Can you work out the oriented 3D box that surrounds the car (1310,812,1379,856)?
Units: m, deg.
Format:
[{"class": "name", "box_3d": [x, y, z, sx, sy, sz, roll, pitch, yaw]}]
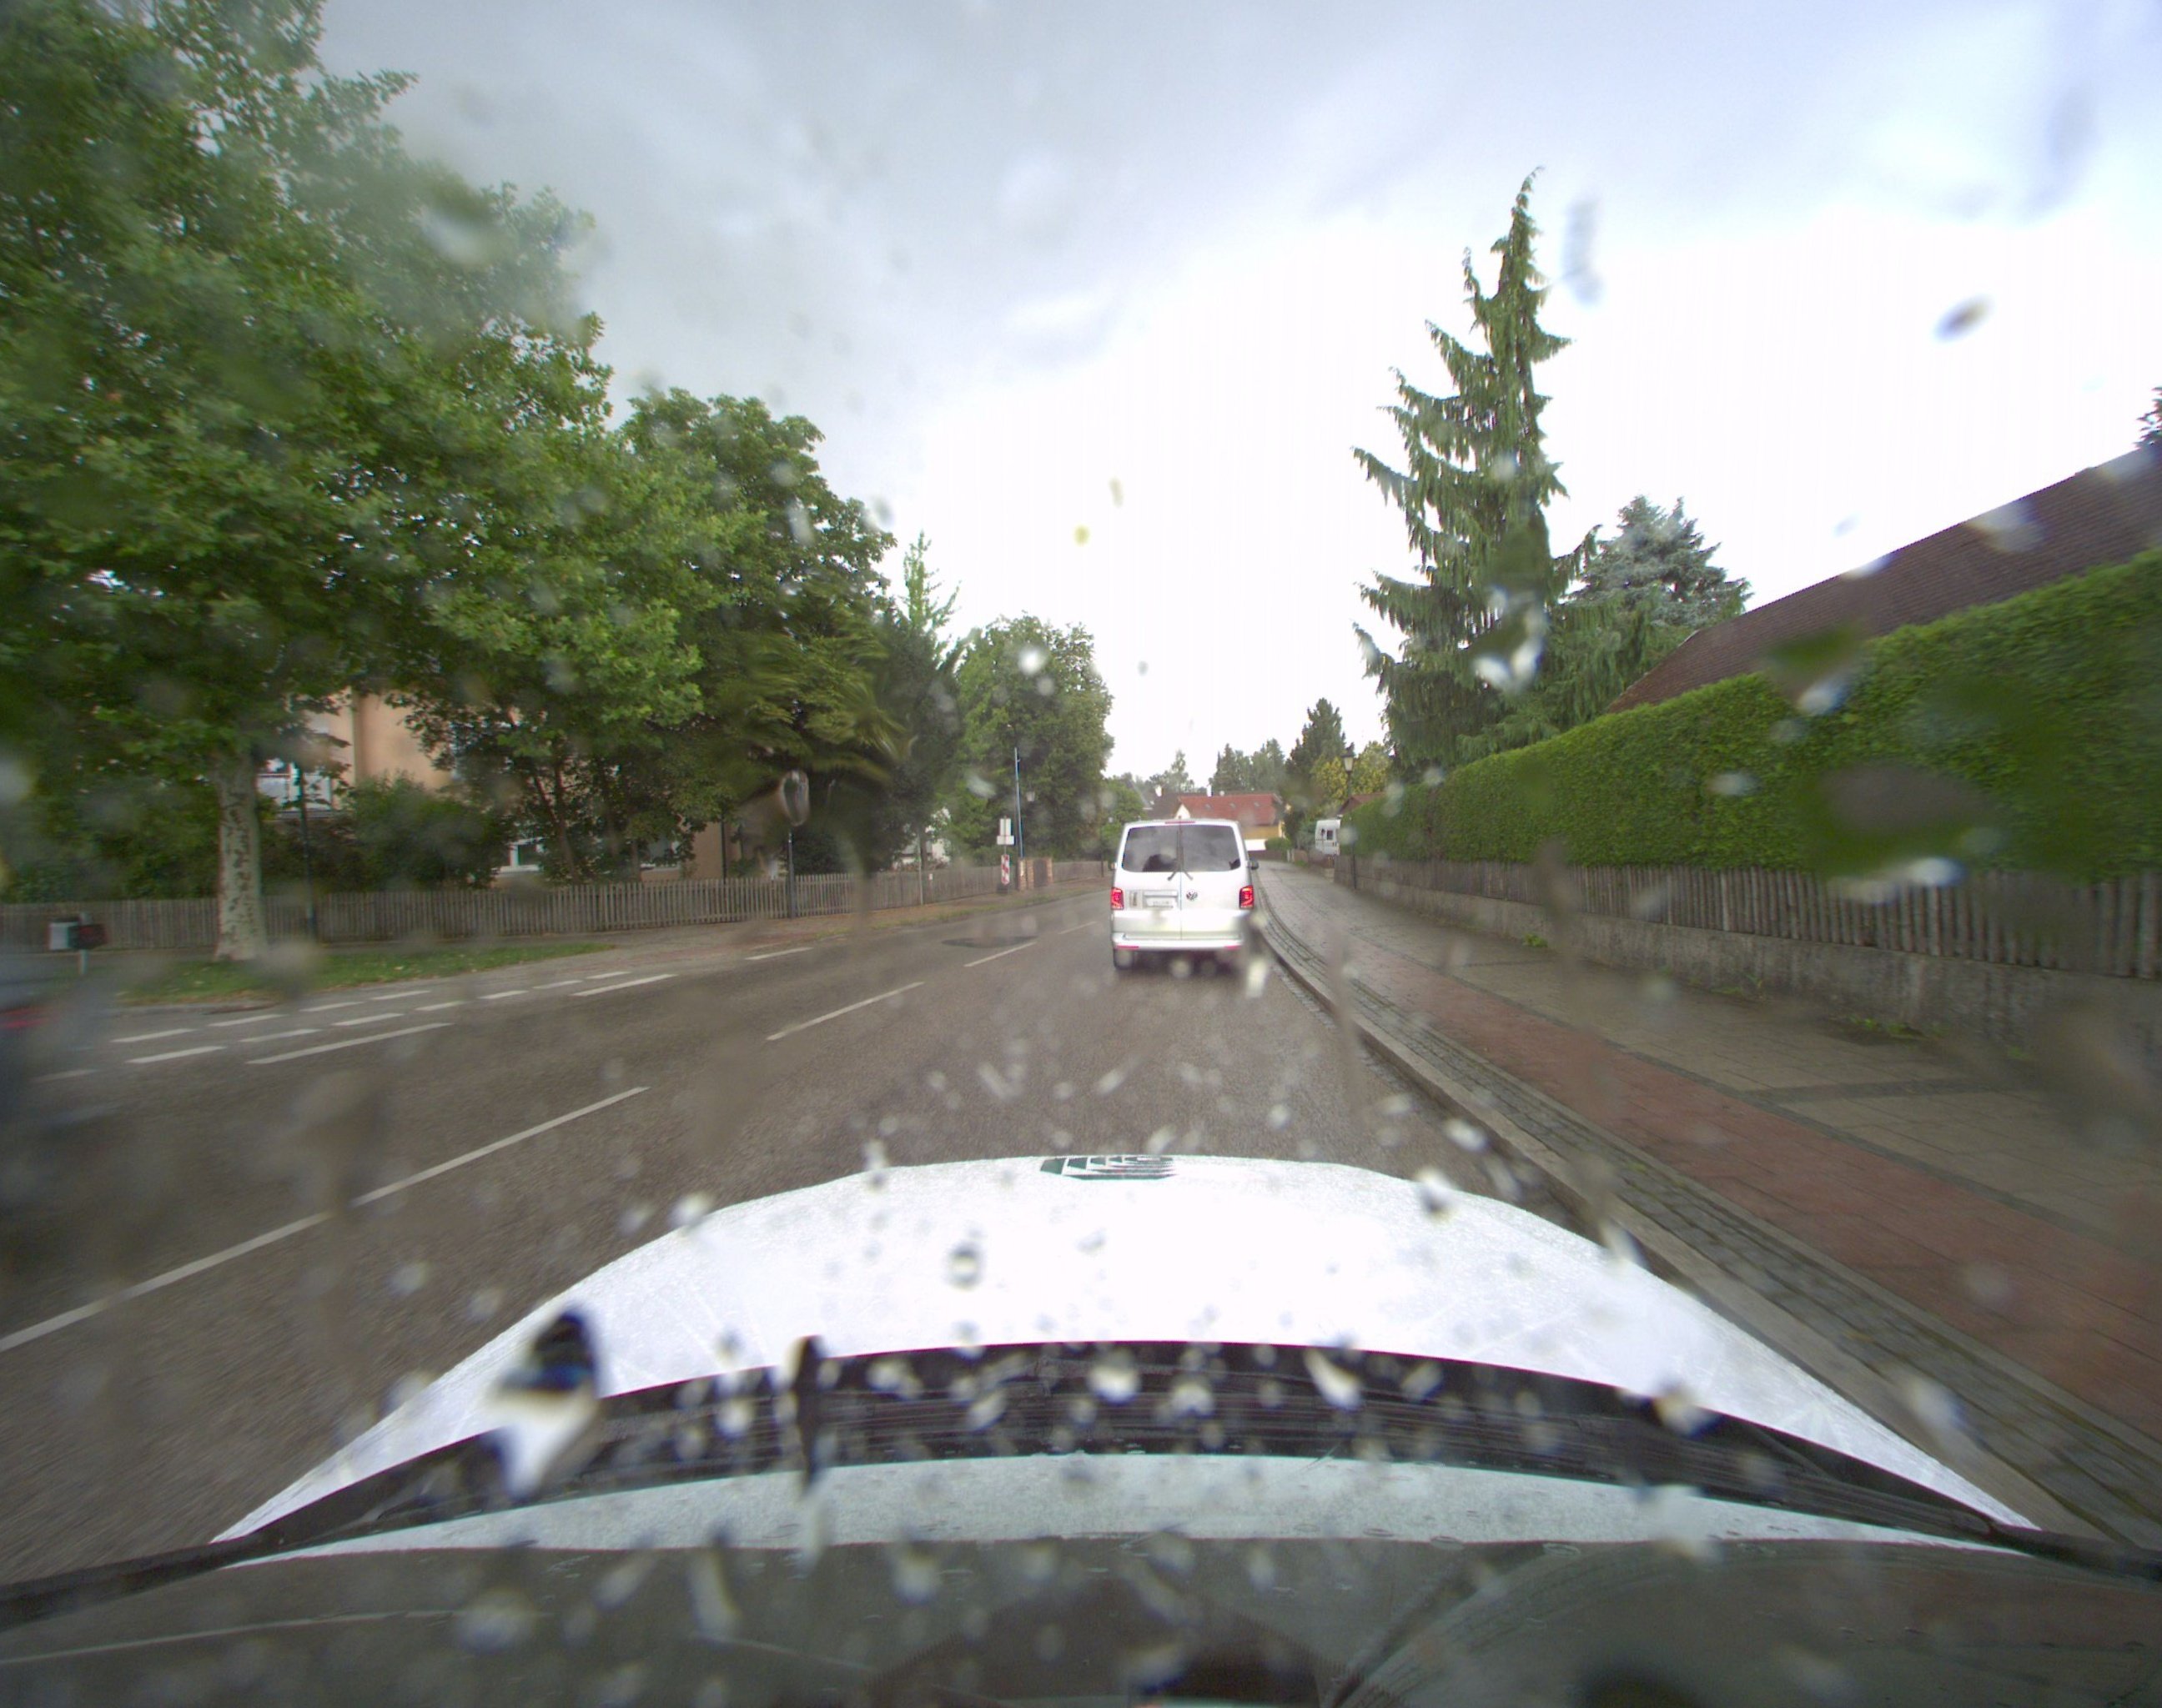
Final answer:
[{"class": "car", "box_3d": [14.267, -1.020, 44.403, 1.988, 2.173, 4.948, 0, -1, -2]}]

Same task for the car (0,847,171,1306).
[{"class": "car", "box_3d": [-4.965, 0.789, 1.343, 1.982, 1.595, 4.200, -1, 0, 8]}]

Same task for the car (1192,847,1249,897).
[{"class": "car", "box_3d": [4.854, 0.590, 28.156, 1.789, 1.588, 4.012, -1, -1, 11]}]

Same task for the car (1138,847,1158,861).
[{"class": "car", "box_3d": [9.962, -0.050, 121.675, 1.994, 2.014, 3.986, 0, -1, -10]}]

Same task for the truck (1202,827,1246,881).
[{"class": "truck", "box_3d": [8.838, 0.021, 50.163, 2.460, 3.074, 6.314, -1, -1, 11]}]

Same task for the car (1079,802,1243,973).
[{"class": "car", "box_3d": [1.327, 0.421, 11.775, 1.788, 2.014, 4.015, -1, -1, 14]}]
